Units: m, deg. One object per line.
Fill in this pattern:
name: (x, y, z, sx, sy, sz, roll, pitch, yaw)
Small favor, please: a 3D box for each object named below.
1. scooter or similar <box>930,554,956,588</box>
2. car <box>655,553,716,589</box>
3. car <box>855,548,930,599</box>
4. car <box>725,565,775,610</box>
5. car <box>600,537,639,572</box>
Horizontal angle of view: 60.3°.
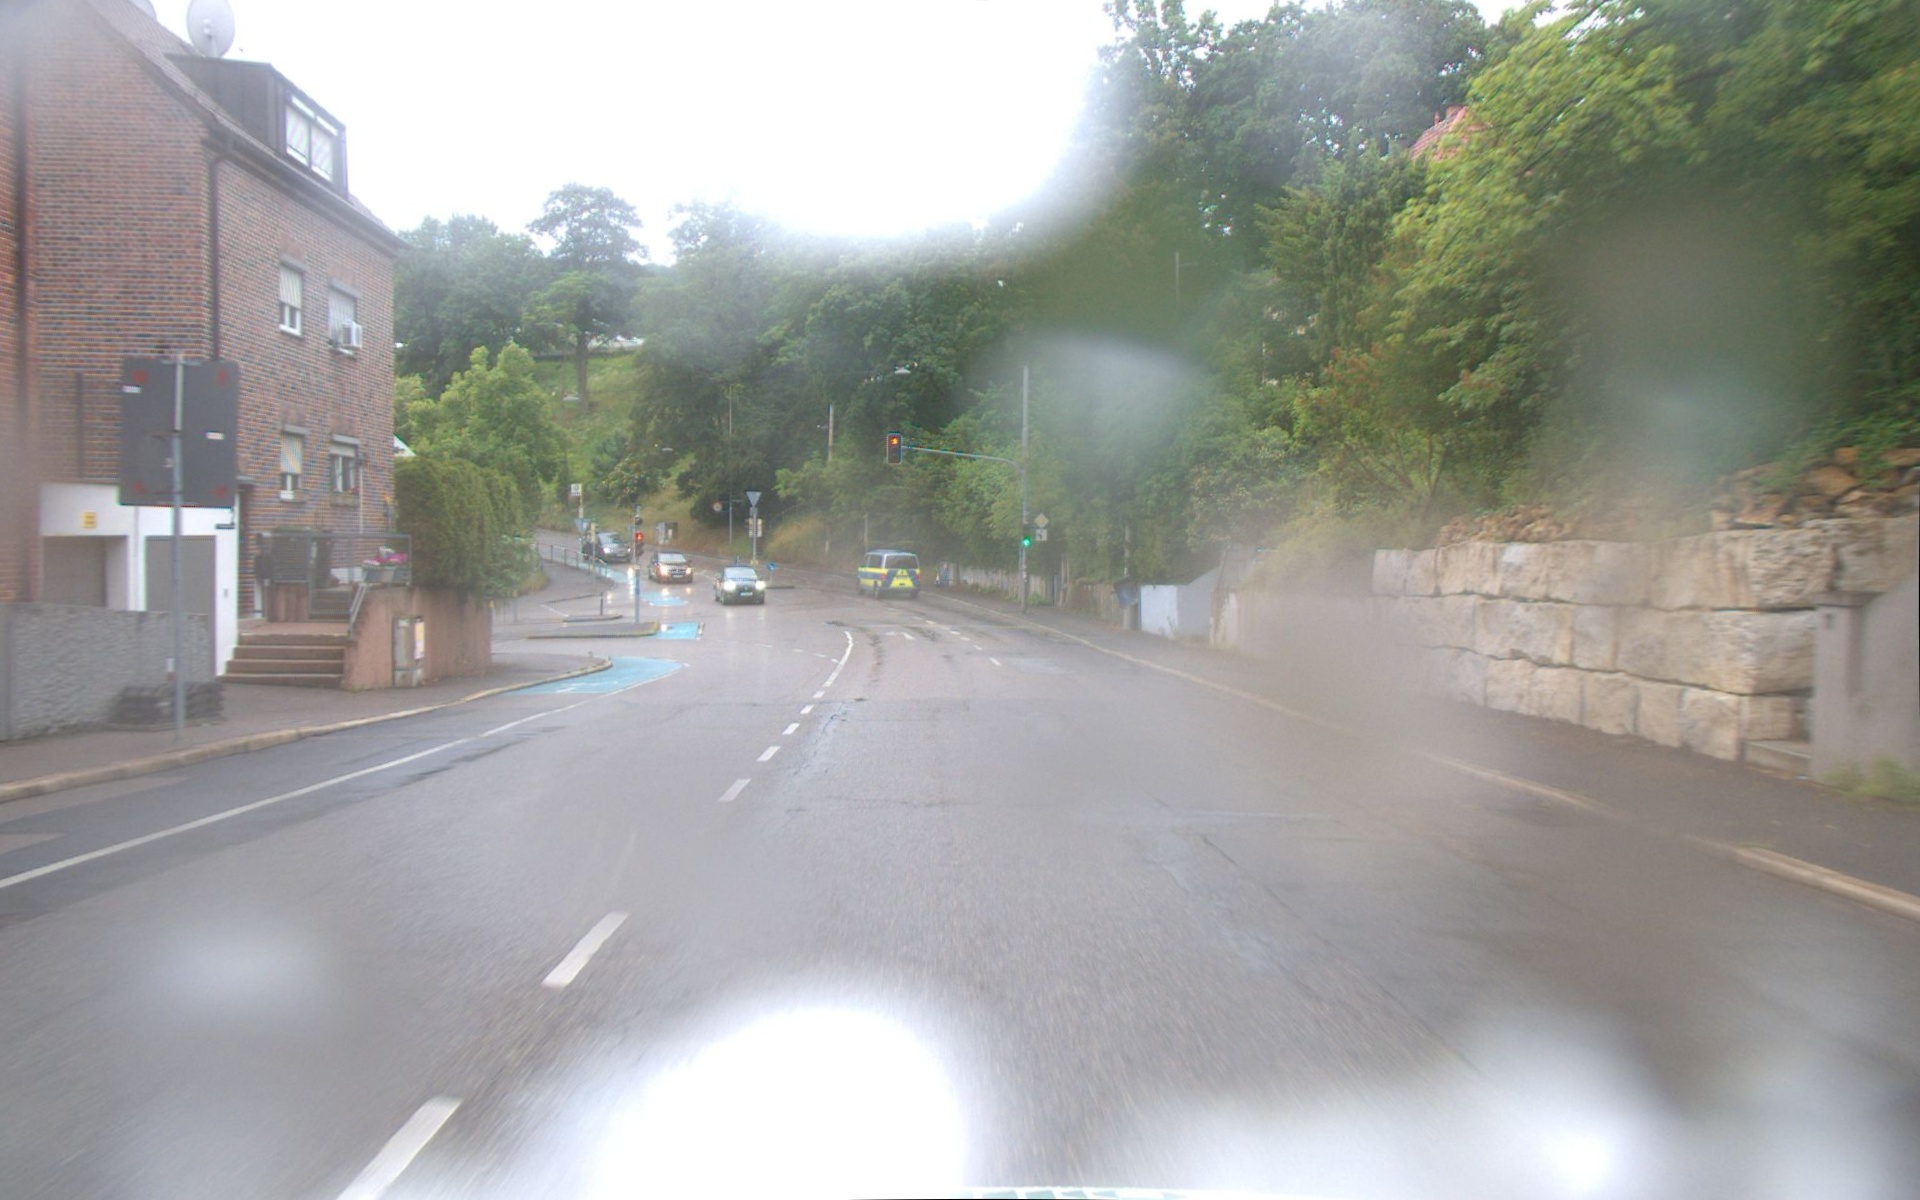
scooter or similar: (-0.797, -1.375, 77.417, 0.607, 1.446, 2.150, -3, 5, -16)
car: (-13.845, -1.485, 83.498, 1.704, 1.576, 4.006, -2, 4, 10)
car: (-3.000, -1.204, 72.464, 2.272, 1.972, 4.307, -4, 4, -16)
car: (-8.860, -0.560, 69.413, 1.711, 1.576, 3.990, -3, 4, -12)
car: (-19.712, -2.661, 95.634, 1.715, 1.575, 3.983, -4, 8, -18)
